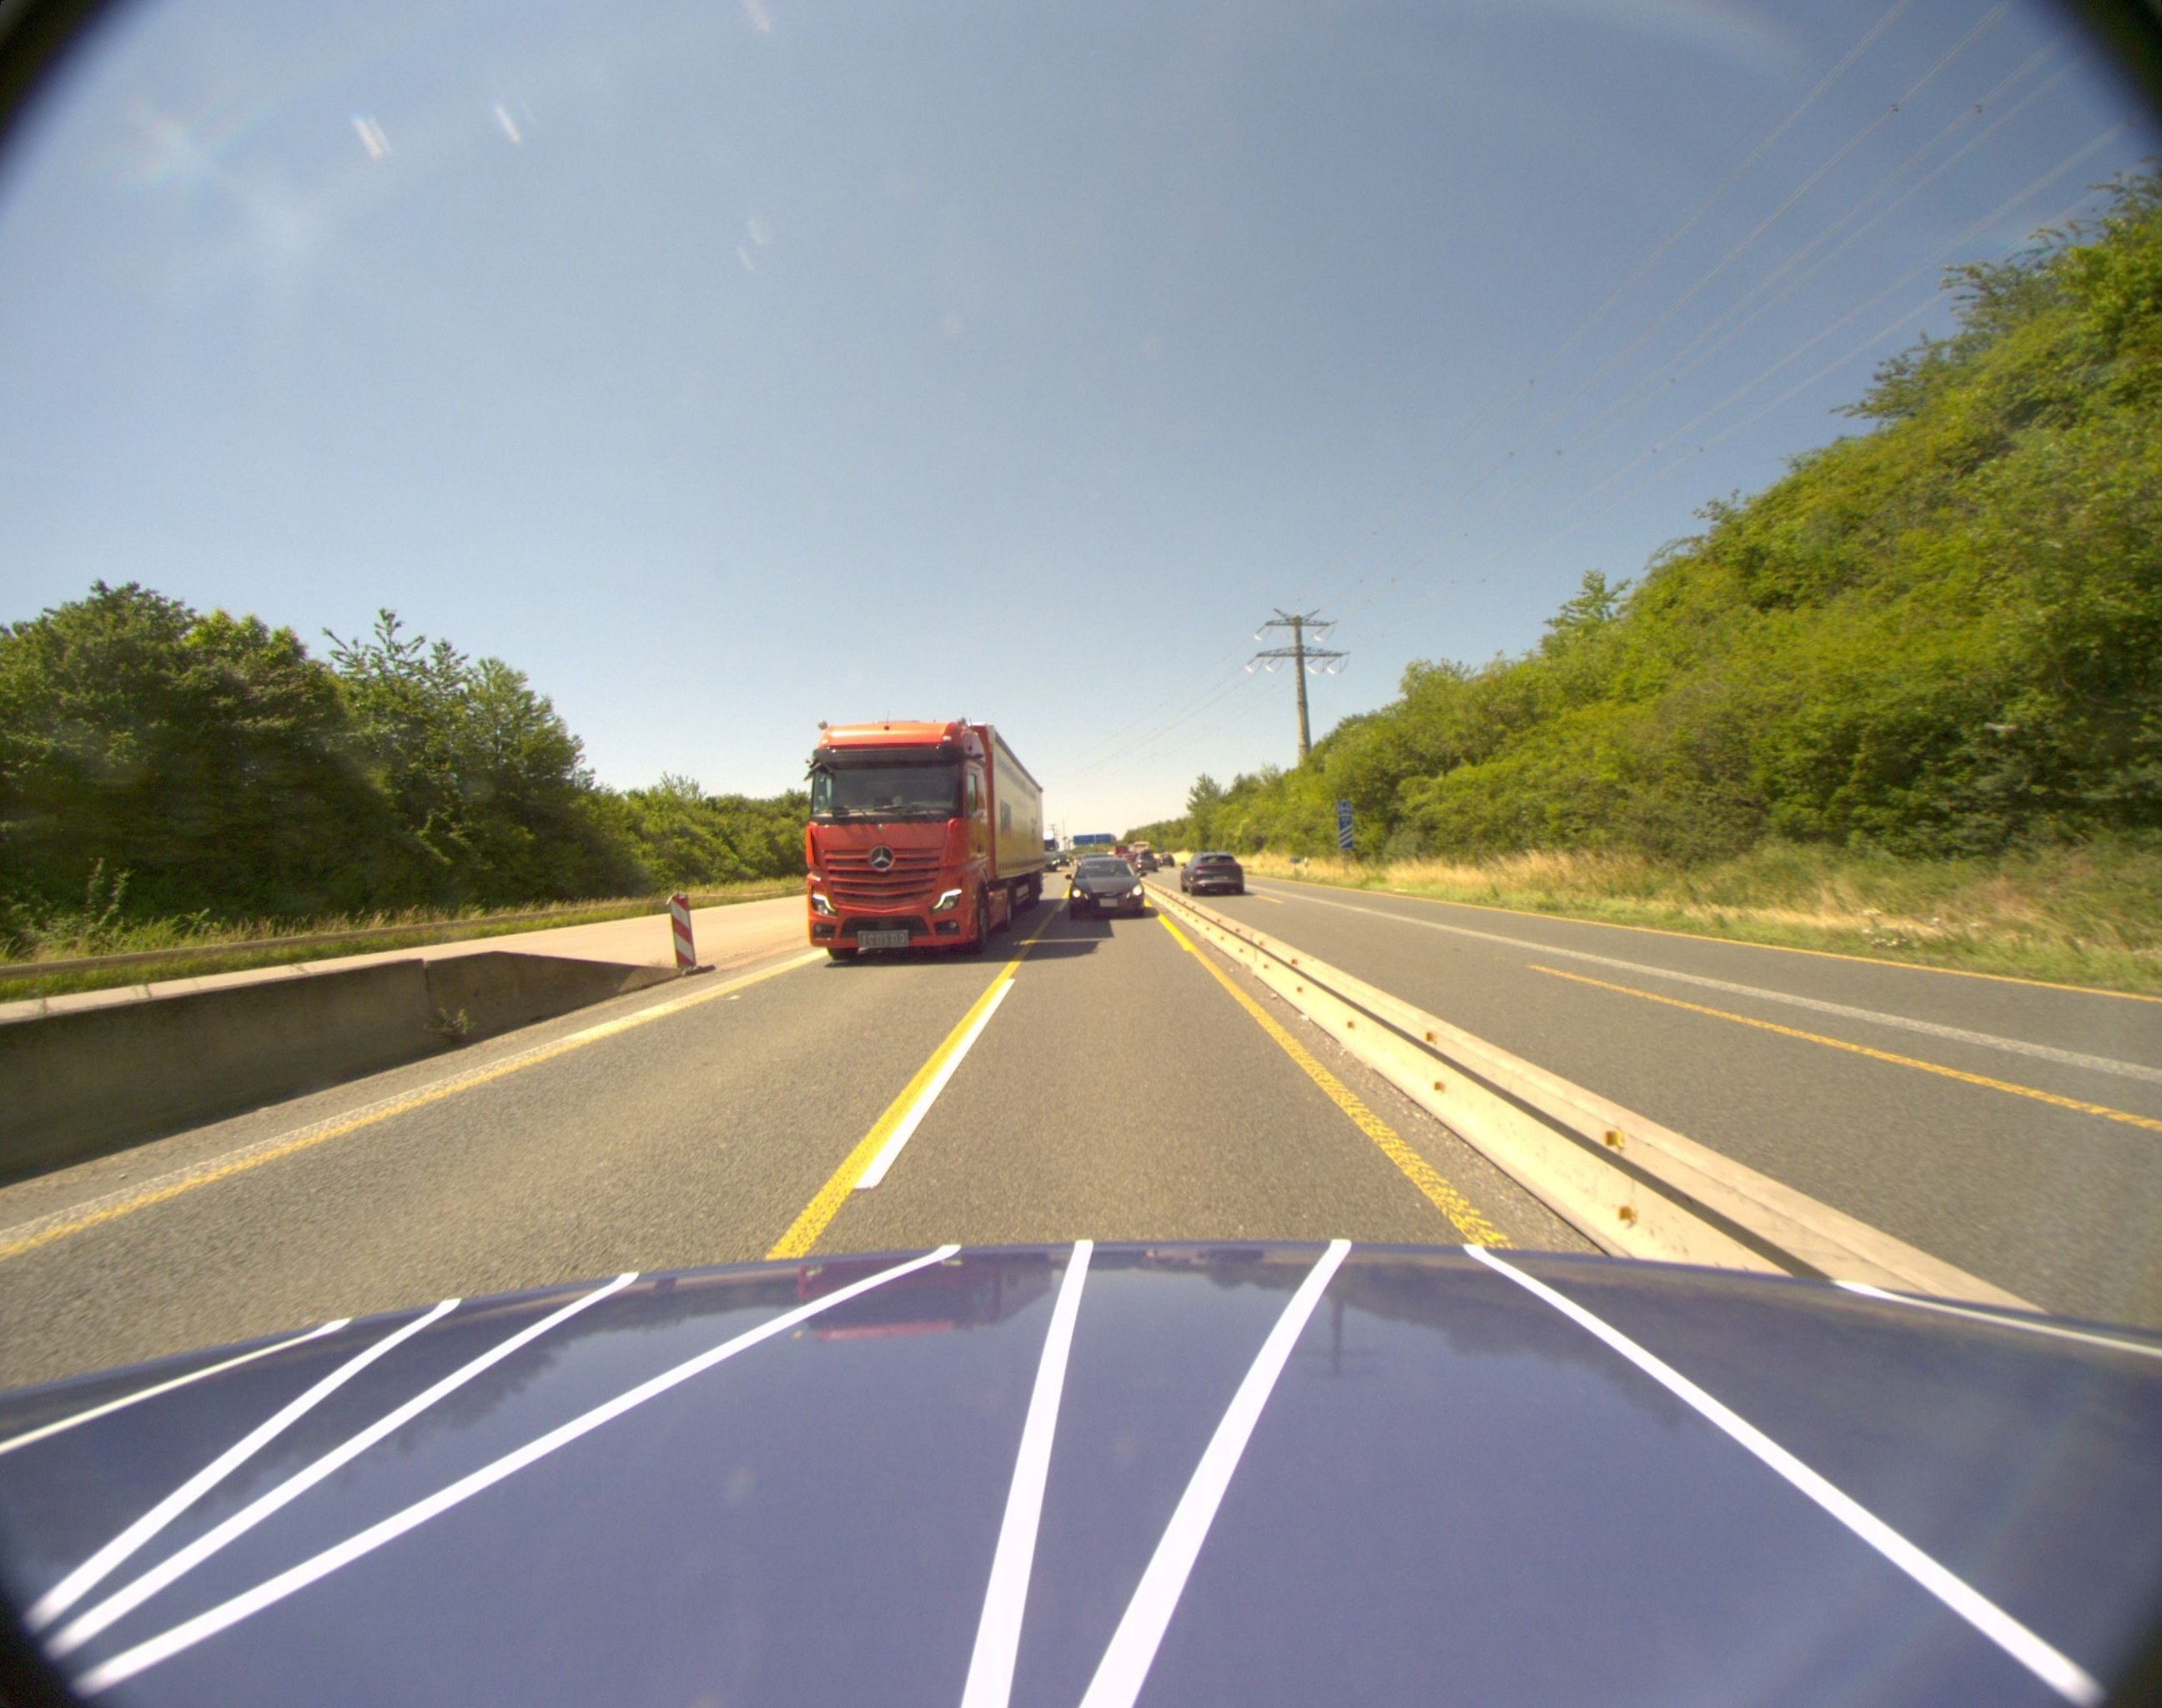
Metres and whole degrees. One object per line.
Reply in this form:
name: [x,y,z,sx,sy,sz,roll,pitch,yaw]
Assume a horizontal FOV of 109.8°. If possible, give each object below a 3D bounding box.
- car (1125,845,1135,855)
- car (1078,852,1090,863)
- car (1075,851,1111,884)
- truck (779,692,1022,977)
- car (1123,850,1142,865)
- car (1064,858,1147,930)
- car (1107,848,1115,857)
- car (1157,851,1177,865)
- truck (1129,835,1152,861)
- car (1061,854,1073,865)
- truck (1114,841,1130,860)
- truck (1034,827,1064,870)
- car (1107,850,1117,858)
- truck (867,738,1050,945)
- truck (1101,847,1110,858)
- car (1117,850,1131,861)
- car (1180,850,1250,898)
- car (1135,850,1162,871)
car: [15.181,-1.258,235.590,2.810,2.735,6.801,-4,0,1]
car: [0.389,0.452,114.662,1.767,1.523,4.698,-2,1,0]
car: [0.659,0.676,40.540,1.767,1.523,4.699,-2,1,2]
truck: [-2.849,-0.301,14.278,2.689,3.987,6.725,-2,1,1]
car: [5.833,0.339,86.754,1.904,1.580,4.276,-2,1,2]
car: [0.605,0.887,18.974,1.767,1.411,4.699,-2,1,2]
car: [7.285,-0.461,183.446,1.855,2.044,4.348,-2,1,1]
car: [9.030,0.417,80.048,1.685,1.413,3.642,-2,1,1]
truck: [9.195,-0.910,118.316,2.942,3.754,11.379,-4,0,2]
car: [-2.056,0.809,111.174,1.767,1.523,4.698,-2,1,-1]
truck: [8.691,-0.676,161.037,2.810,3.754,11.378,-4,0,1]
truck: [-3.222,-0.569,79.799,2.481,4.030,13.109,-2,0,0]
car: [5.902,-0.075,145.692,1.855,1.413,4.348,-2,1,1]
truck: [-2.694,-0.327,21.611,2.689,3.987,13.217,-2,1,1]
truck: [8.035,-0.621,249.495,2.810,3.317,11.378,-4,0,1]
car: [6.107,0.223,108.801,1.855,1.413,4.348,-2,1,1]
car: [4.721,0.645,27.345,1.904,1.496,4.276,-2,1,2]
car: [5.423,0.479,61.366,1.904,1.507,4.276,-2,1,2]
